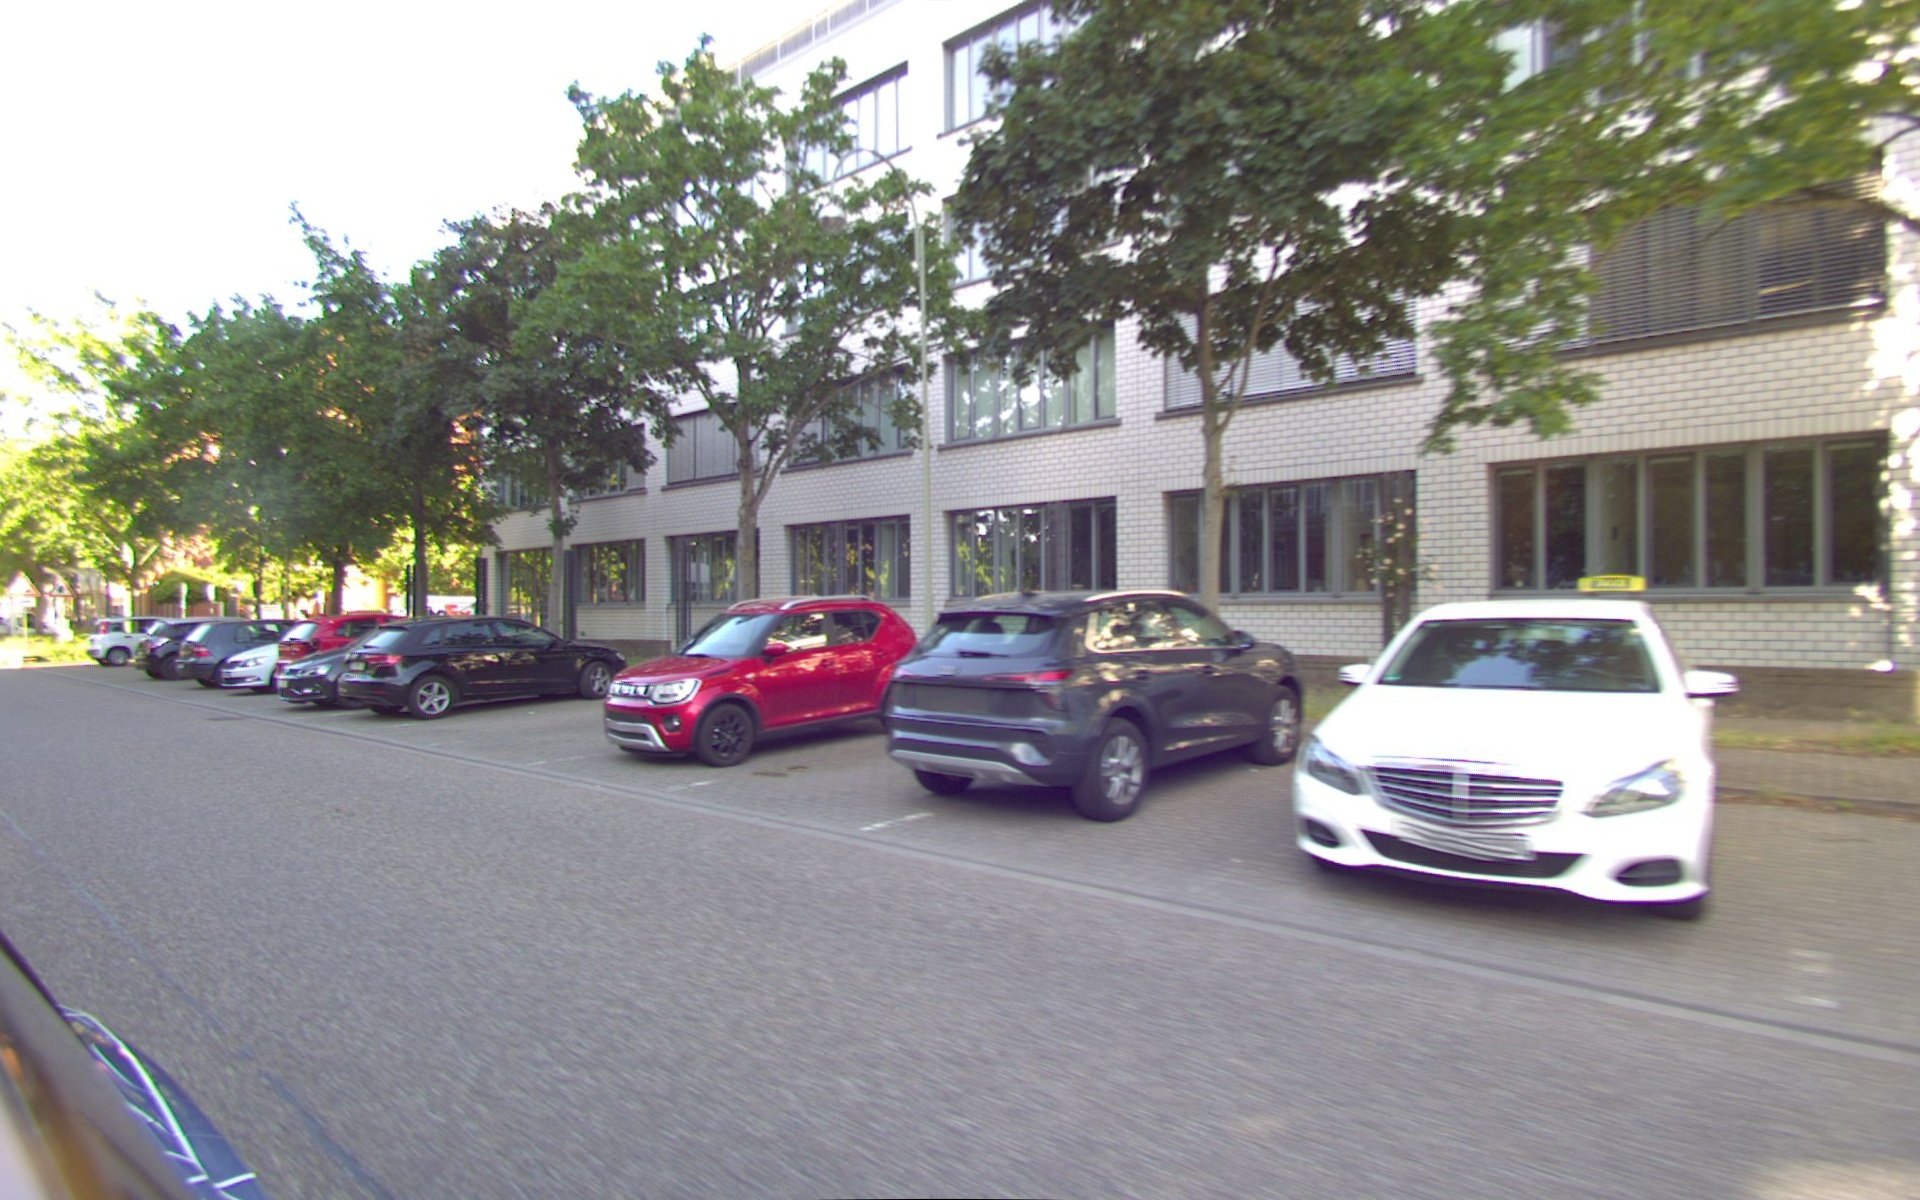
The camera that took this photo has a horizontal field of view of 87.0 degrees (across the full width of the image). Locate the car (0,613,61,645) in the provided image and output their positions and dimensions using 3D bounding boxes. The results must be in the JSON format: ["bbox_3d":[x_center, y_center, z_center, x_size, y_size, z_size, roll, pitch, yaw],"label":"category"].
[{"bbox_3d":[-52.008,1.575,54.510,1.953,1.637,5.184,-1,0,42],"label":"car"}]

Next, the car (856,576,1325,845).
[{"bbox_3d":[1.275,0.651,8.268,1.803,1.632,4.069,-1,0,42],"label":"car"}]

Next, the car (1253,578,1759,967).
[{"bbox_3d":[3.551,0.634,6.228,1.937,1.462,4.468,-1,0,36],"label":"car"}]

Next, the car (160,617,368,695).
[{"bbox_3d":[-15.296,1.165,22.365,1.645,1.517,3.495,-1,0,39],"label":"car"}]

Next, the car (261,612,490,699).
[{"bbox_3d":[-11.219,0.997,19.599,1.655,1.456,3.497,-1,0,37],"label":"car"}]

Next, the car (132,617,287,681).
[{"bbox_3d":[-18.750,1.177,25.344,1.388,1.454,2.896,-1,-1,40],"label":"car"}]

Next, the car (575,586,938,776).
[{"bbox_3d":[-2.072,0.720,10.954,1.654,1.681,3.533,-1,0,43],"label":"car"}]

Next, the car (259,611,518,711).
[{"bbox_3d":[-9.618,0.948,17.226,1.656,1.447,3.495,-1,0,39],"label":"car"}]

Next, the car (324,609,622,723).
[{"bbox_3d":[-7.414,0.935,15.693,1.686,1.424,3.785,-3,0,39],"label":"car"}]

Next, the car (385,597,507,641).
[{"bbox_3d":[-26.182,0.904,51.694,1.930,2.114,5.263,-1,0,38],"label":"car"}]

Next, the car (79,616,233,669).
[{"bbox_3d":[-25.648,1.297,32.366,1.616,1.519,3.585,-1,0,39],"label":"car"}]

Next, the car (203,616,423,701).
[{"bbox_3d":[-13.265,1.127,20.890,1.656,1.541,3.483,-1,0,39],"label":"car"}]

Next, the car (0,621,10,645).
[{"bbox_3d":[-61.290,2.099,62.314,1.953,1.483,3.916,-1,0,42],"label":"car"}]
